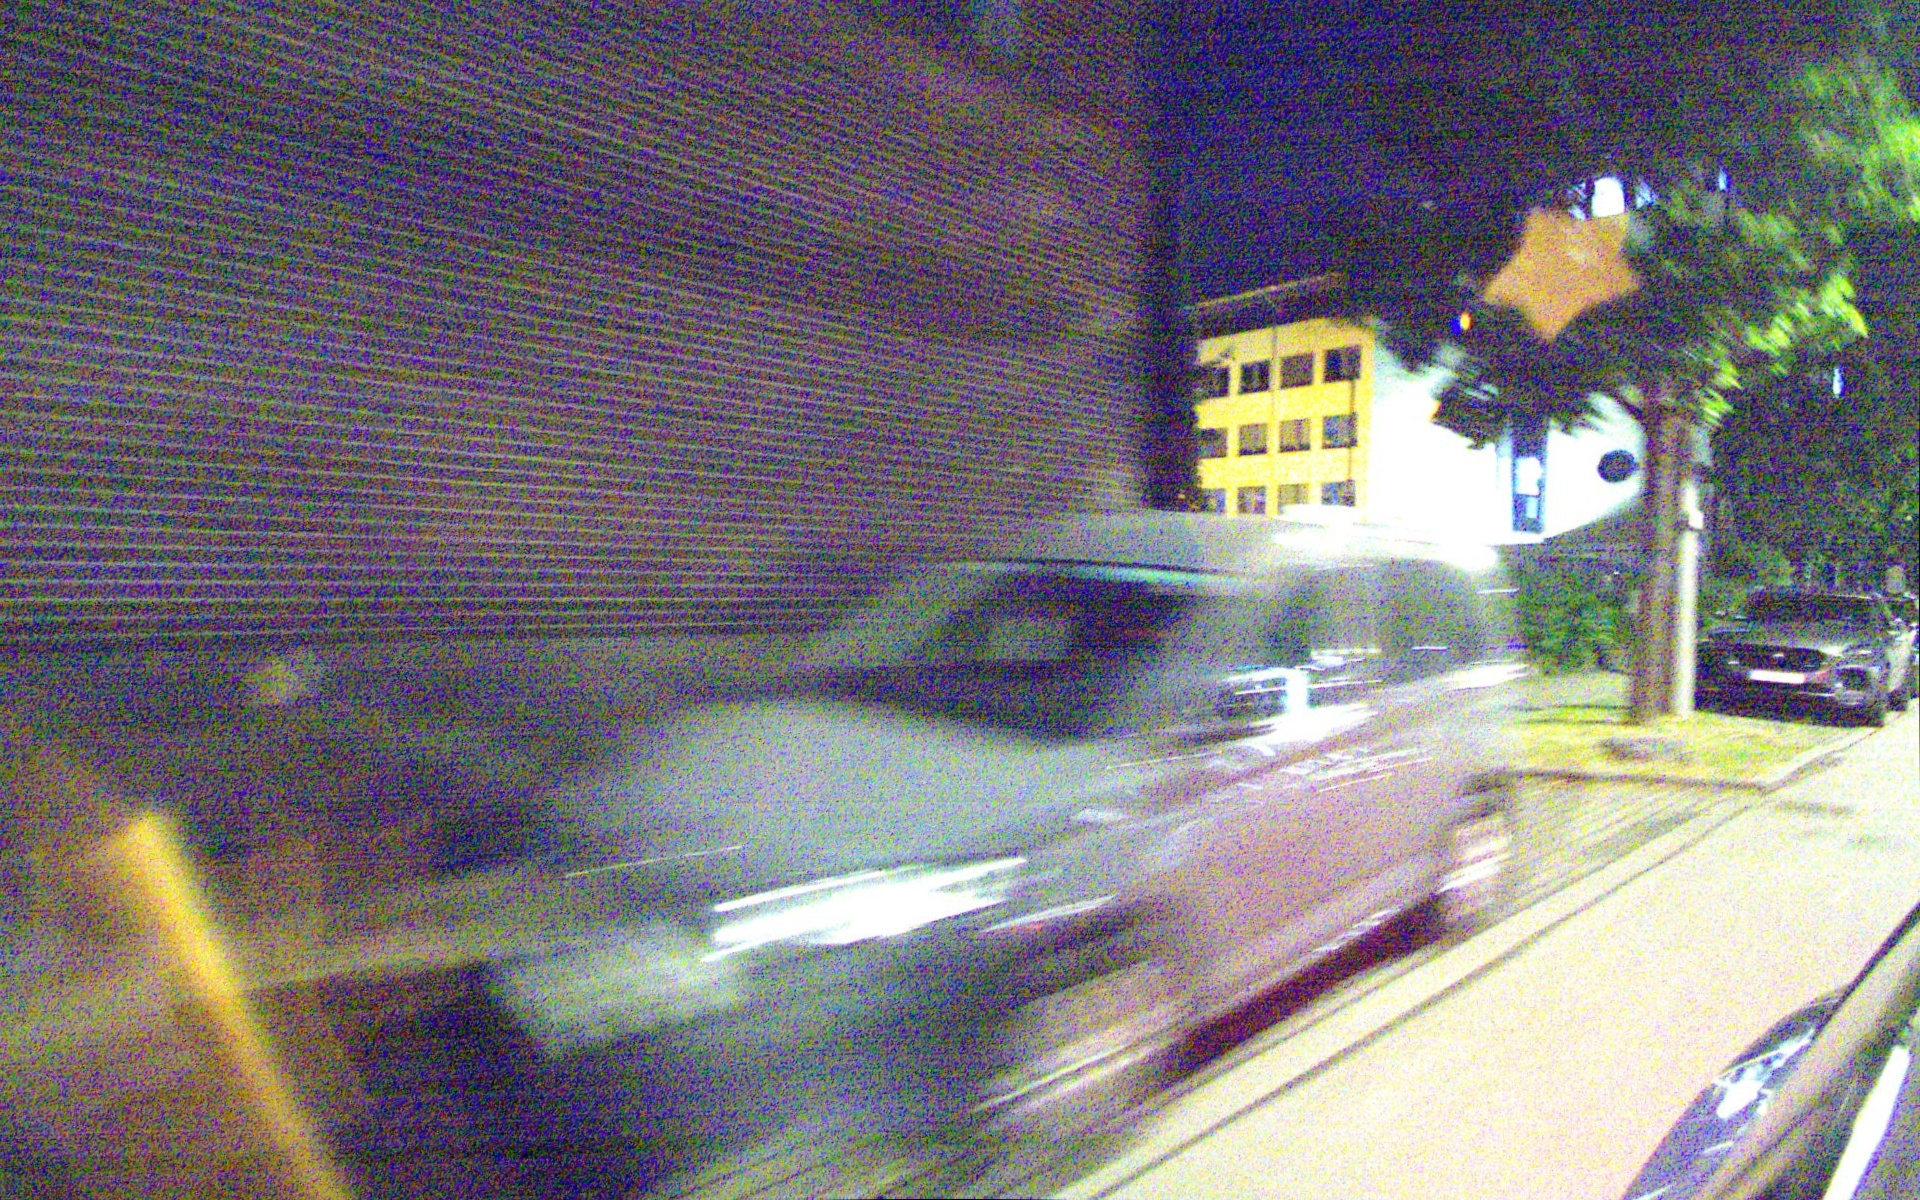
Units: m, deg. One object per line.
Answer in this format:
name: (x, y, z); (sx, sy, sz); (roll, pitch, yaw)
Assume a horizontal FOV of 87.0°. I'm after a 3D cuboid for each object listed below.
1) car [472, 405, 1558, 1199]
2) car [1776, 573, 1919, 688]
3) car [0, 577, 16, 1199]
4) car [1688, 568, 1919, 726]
car: (0.666, 0.481, 4.009); (4.349, 1.794, 1.778); (0, 3, -44)
car: (15.615, 0.448, 17.333); (4.025, 1.685, 1.932); (0, 3, -43)
car: (-3.441, 0.687, 0.419); (4.344, 1.375, 1.780); (0, 3, -40)
car: (11.175, 0.493, 13.234); (3.710, 1.685, 1.932); (0, 3, -43)
